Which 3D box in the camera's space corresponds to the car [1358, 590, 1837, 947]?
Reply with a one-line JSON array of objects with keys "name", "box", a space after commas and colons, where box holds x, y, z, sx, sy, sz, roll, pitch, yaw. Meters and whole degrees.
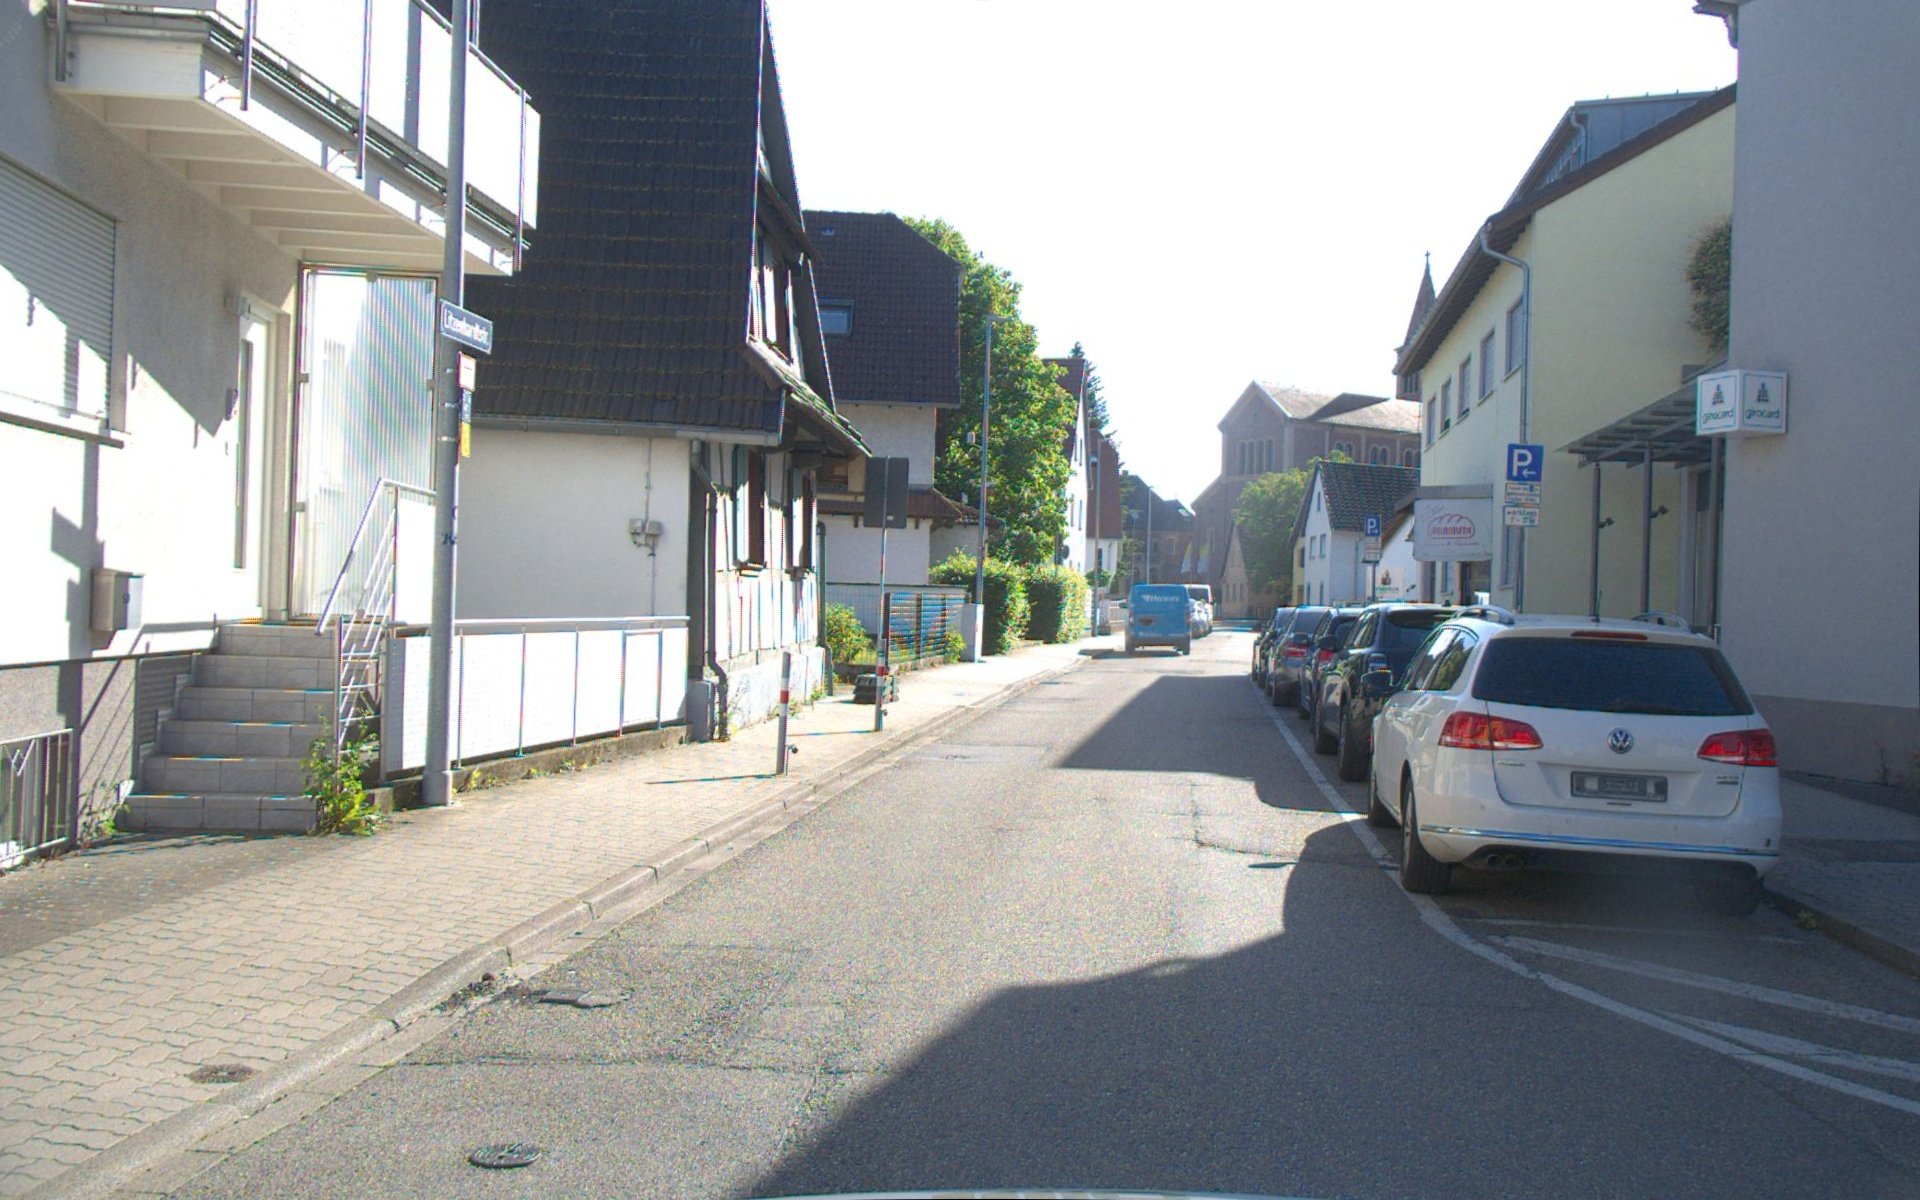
[{"name": "car", "box": [3.421, 0.746, 9.766, 1.806, 1.540, 4.510, 2, 0, 11]}]

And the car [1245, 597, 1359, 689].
[{"name": "car", "box": [6.380, 0.776, 31.293, 1.770, 1.501, 4.848, 3, 0, 8]}]

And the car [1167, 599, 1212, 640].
[{"name": "car", "box": [9.413, 0.772, 67.731, 1.678, 1.626, 3.928, 0, 0, 10]}]

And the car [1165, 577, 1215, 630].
[{"name": "car", "box": [11.071, 0.152, 79.362, 2.150, 2.432, 6.069, -1, 0, 10]}]

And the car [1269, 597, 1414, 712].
[{"name": "car", "box": [5.732, 0.756, 25.317, 1.770, 1.501, 4.448, 3, 0, 9]}]

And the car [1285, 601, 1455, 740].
[{"name": "car", "box": [5.109, 0.812, 21.055, 1.689, 1.501, 3.878, 3, 0, 9]}]

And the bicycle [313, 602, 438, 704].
[{"name": "bicycle", "box": [-4.584, 0.393, 13.052, 0.479, 0.729, 1.502, 2, 0, -2]}]

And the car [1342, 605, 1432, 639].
[{"name": "car", "box": [19.520, 0.994, 75.534, 3.831, 1.518, 1.848, 1, 0, 19]}]

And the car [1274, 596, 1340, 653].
[{"name": "car", "box": [10.157, 0.689, 48.551, 1.773, 1.501, 4.663, 2, 0, 11]}]

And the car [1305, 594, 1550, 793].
[{"name": "car", "box": [4.254, 0.765, 15.587, 1.576, 1.547, 3.974, 3, 0, 7]}]

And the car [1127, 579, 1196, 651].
[{"name": "car", "box": [5.808, 0.404, 47.671, 1.862, 1.951, 5.073, 0, 0, 7]}]
